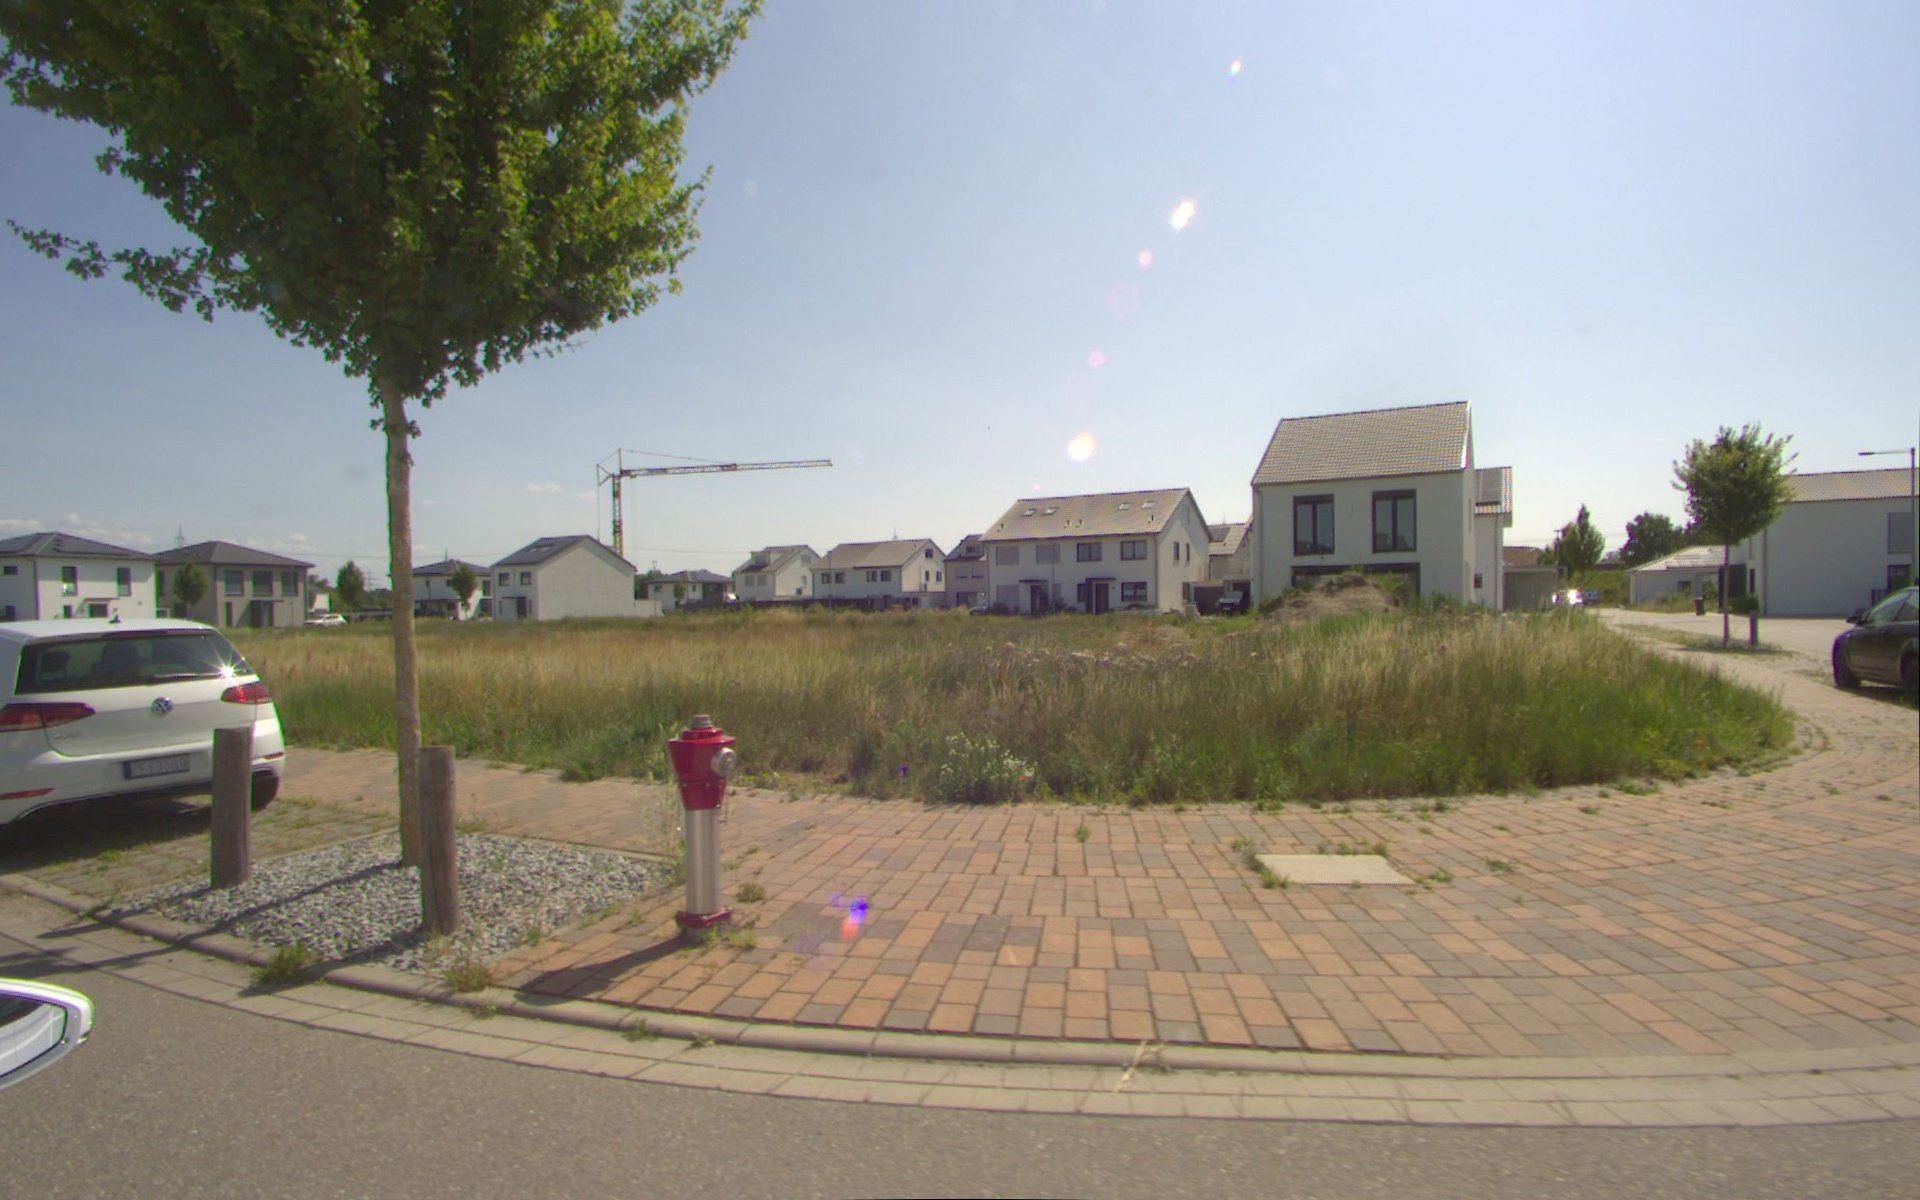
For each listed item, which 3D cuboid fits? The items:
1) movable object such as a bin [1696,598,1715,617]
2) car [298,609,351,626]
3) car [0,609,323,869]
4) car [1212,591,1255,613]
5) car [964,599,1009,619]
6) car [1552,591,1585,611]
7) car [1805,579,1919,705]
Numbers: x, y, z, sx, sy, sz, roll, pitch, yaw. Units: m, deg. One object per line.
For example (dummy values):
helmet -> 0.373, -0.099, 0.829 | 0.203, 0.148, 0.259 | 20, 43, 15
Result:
movable object such as a bin -> 43.021, 0.440, 57.770 | 0.796, 1.113, 0.669 | 0, 1, 31
car -> -58.116, 1.614, 91.644 | 1.719, 1.416, 3.994 | -2, -1, 16
car -> -6.919, 0.828, 7.629 | 4.103, 1.439, 1.772 | 0, 2, 30
car -> 19.206, 0.124, 70.173 | 1.790, 1.532, 3.977 | -1, 0, 33
car -> 2.149, 0.705, 80.977 | 1.790, 1.595, 3.977 | -1, 0, 33
car -> 45.722, 0.039, 75.338 | 1.896, 1.439, 4.401 | -1, 0, 29
car -> 12.926, 0.489, 12.983 | 1.819, 1.513, 4.182 | -2, -1, 23
